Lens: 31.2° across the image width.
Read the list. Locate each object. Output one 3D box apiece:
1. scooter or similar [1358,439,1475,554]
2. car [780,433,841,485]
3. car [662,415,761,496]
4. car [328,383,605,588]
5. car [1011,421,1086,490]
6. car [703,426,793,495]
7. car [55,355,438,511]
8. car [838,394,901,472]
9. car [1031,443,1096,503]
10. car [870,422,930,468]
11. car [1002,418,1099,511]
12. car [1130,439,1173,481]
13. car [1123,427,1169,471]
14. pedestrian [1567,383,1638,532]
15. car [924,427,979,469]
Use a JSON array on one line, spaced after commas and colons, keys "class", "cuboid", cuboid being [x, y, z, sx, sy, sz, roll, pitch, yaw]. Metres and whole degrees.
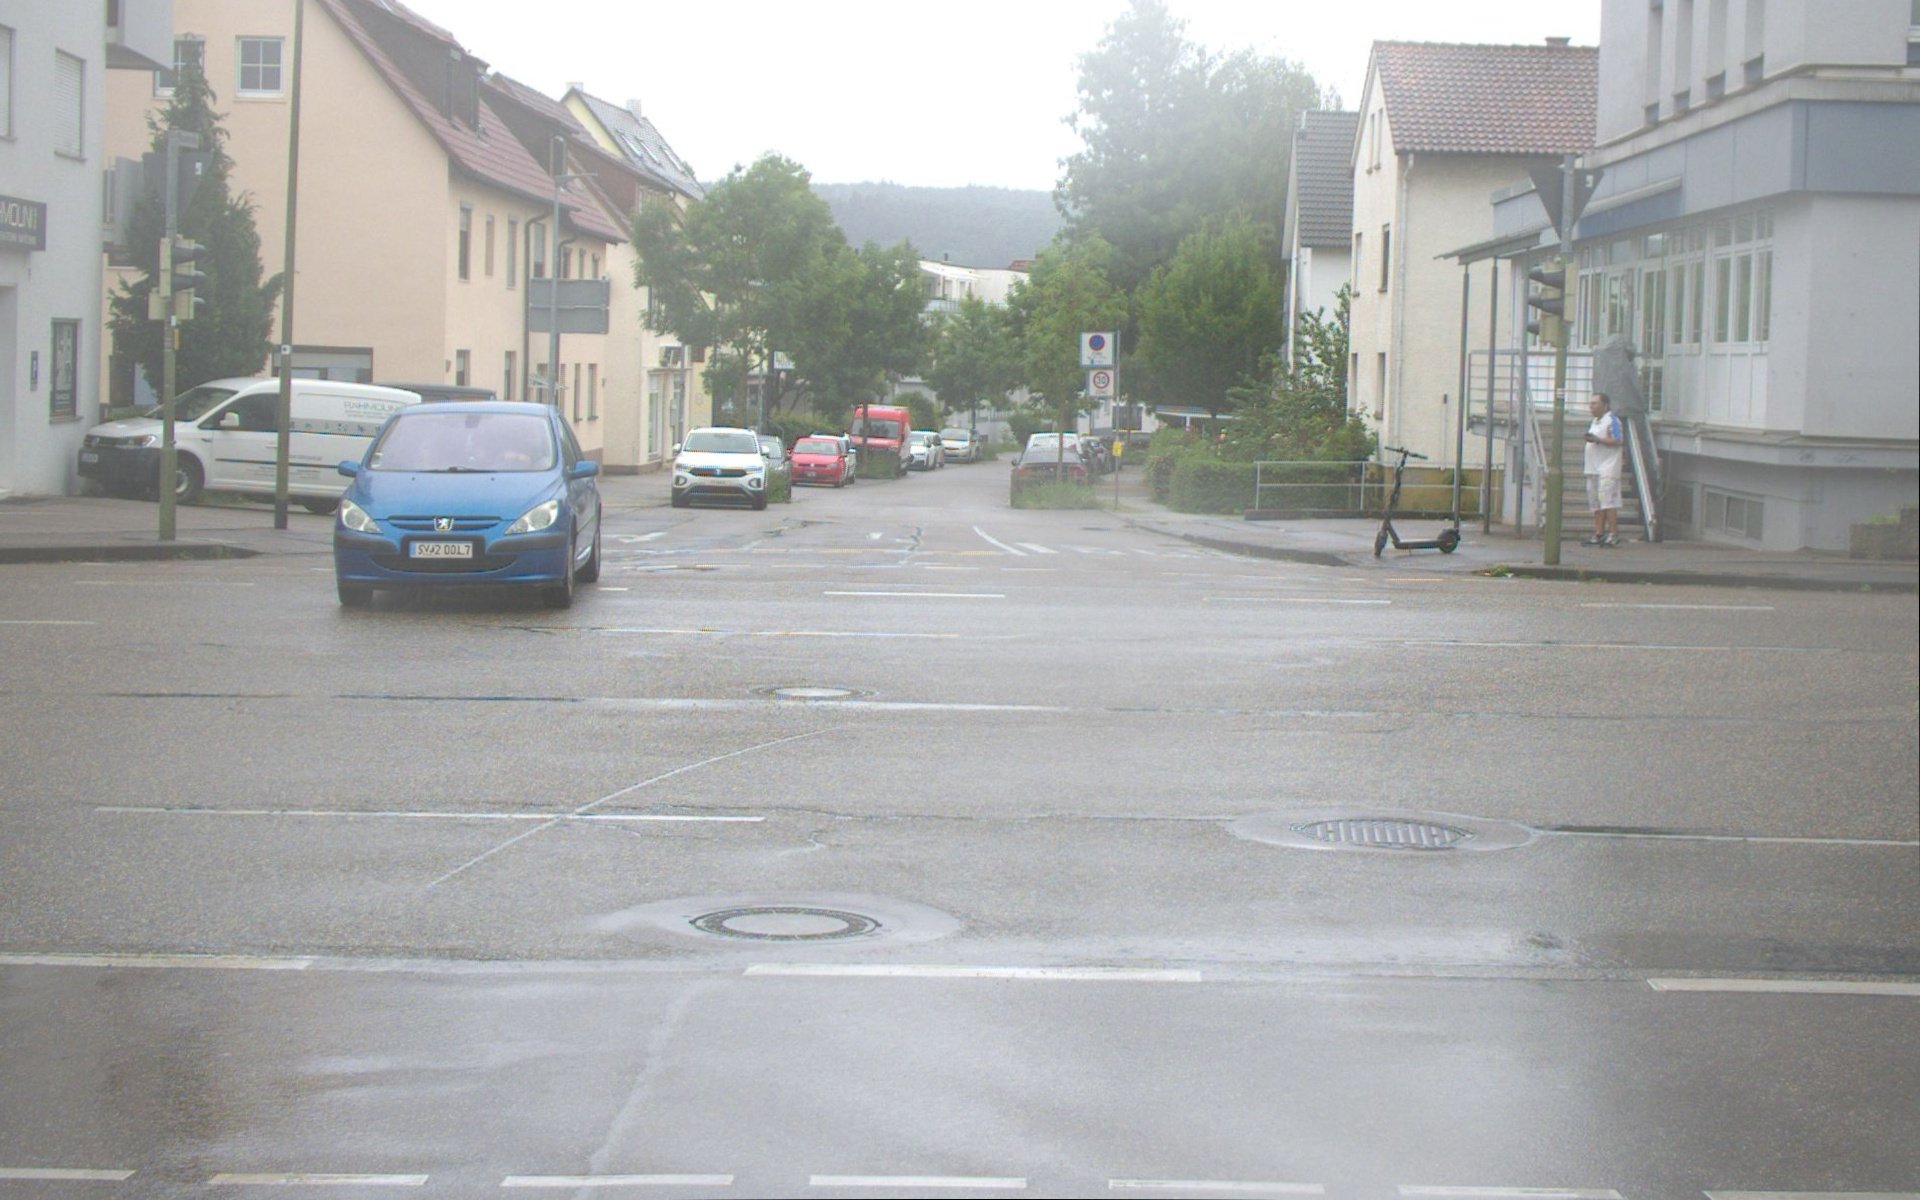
[{"class": "scooter or similar", "cuboid": [4.981, -1.120, 37.556, 1.058, 1.223, 0.802, 1, 0, -9]}, {"class": "car", "cuboid": [-4.517, -4.239, 103.328, 1.767, 1.513, 4.001, 0, 2, -3]}, {"class": "car", "cuboid": [-4.812, -2.800, 66.853, 1.767, 1.518, 4.001, 0, 2, -2]}, {"class": "car", "cuboid": [-3.732, -0.829, 26.580, 1.767, 1.440, 4.000, 1, 0, -3]}, {"class": "car", "cuboid": [2.652, -4.303, 102.402, 1.994, 2.006, 4.000, 1, 2, 5]}, {"class": "car", "cuboid": [-4.793, -3.169, 78.209, 1.767, 1.513, 4.195, 0, 2, 0]}, {"class": "car", "cuboid": [-9.628, -2.225, 46.596, 4.715, 1.772, 1.772, 3, 0, -39]}, {"class": "car", "cuboid": [-3.297, -6.105, 126.283, 2.216, 2.759, 5.725, 0, 2, -1]}, {"class": "car", "cuboid": [3.566, -4.362, 117.572, 1.994, 2.006, 4.000, 1, 2, 5]}, {"class": "car", "cuboid": [-2.393, -6.190, 137.587, 1.994, 1.678, 3.999, 1, 0, 5]}, {"class": "car", "cuboid": [2.142, -3.129, 80.306, 1.994, 2.007, 3.999, 1, 0, 5]}, {"class": "car", "cuboid": [9.456, -6.897, 169.594, 1.994, 2.006, 4.000, 1, 2, 5]}, {"class": "car", "cuboid": [8.712, -7.050, 160.948, 1.994, 2.006, 4.000, 1, 2, 5]}, {"class": "pedestrian", "cuboid": [7.219, -1.593, 38.644, 0.654, 1.646, 0.646, 1, 0, 0]}, {"class": "car", "cuboid": [-0.354, -6.789, 153.383, 1.994, 1.700, 3.999, 1, 0, 6]}]
